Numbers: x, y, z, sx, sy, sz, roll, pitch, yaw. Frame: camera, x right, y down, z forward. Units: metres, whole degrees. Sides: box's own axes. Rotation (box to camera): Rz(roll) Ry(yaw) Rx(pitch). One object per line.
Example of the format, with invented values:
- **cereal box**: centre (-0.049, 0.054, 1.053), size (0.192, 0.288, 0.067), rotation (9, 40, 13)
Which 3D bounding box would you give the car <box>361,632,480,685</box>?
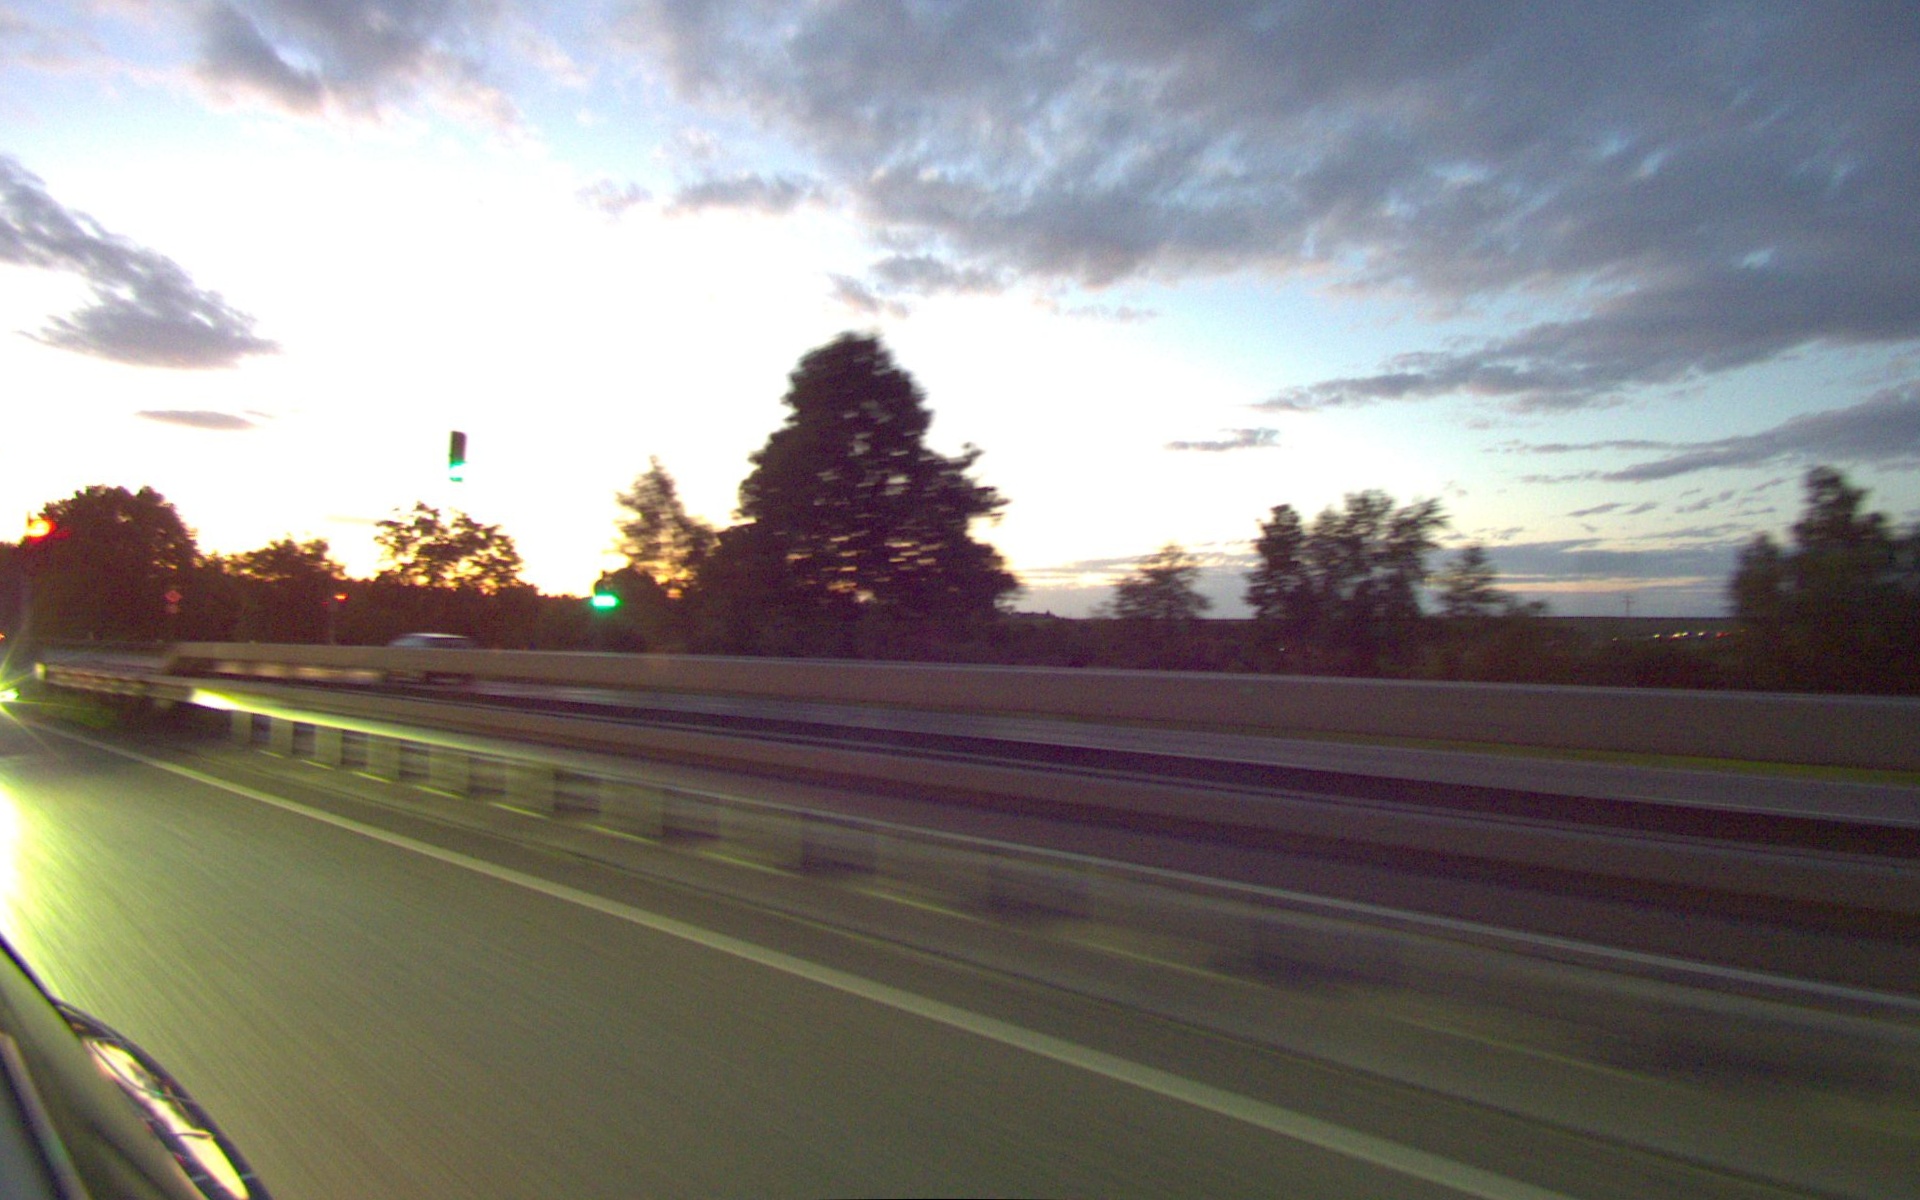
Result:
- **car**: centre (-15.966, 1.688, 29.897), size (4.024, 1.395, 1.636), rotation (-1, -1, 38)
